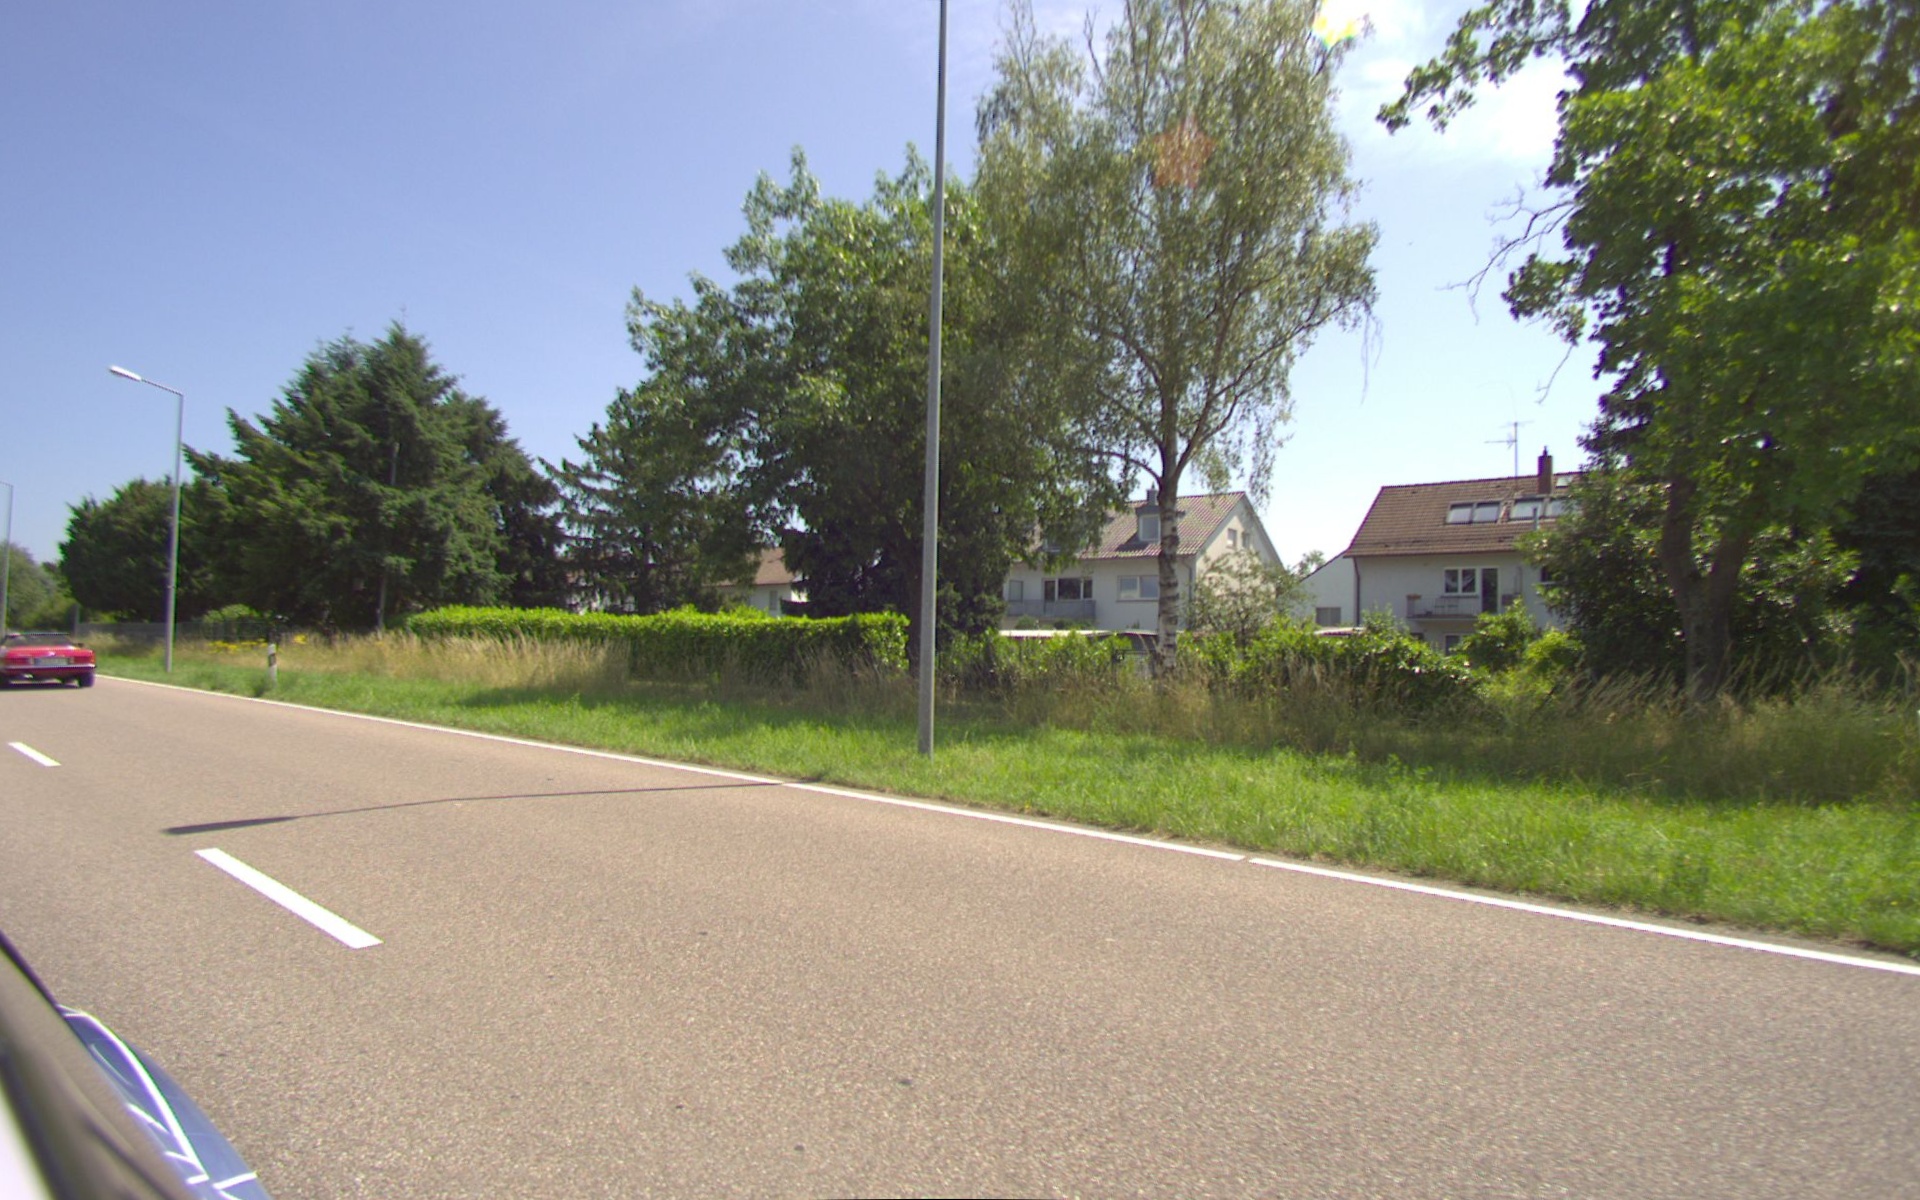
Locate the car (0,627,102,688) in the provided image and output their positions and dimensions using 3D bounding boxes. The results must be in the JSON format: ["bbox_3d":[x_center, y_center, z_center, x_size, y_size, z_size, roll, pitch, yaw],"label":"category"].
[{"bbox_3d":[-21.755,1.300,23.800,4.250,1.311,1.731,-1,-3,41],"label":"car"}]
